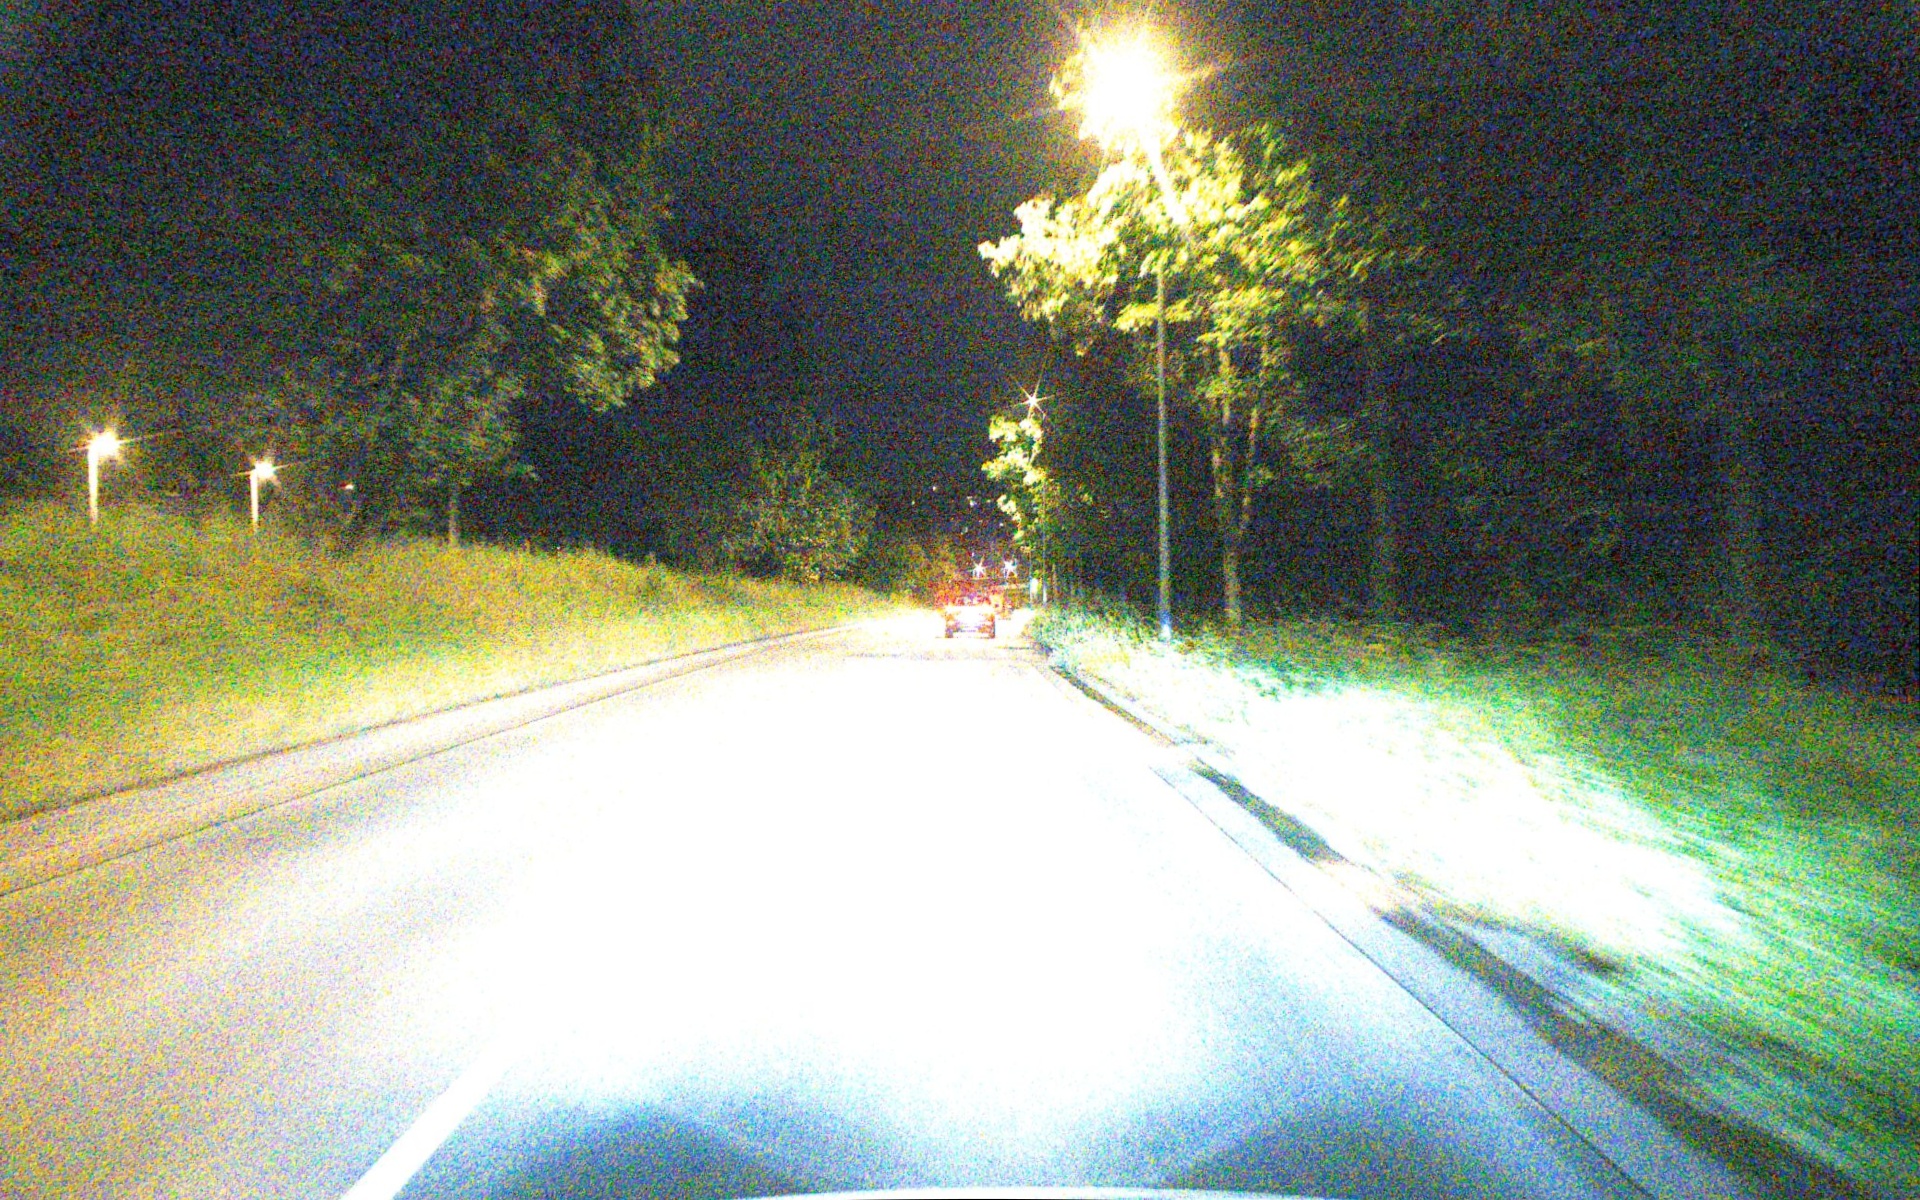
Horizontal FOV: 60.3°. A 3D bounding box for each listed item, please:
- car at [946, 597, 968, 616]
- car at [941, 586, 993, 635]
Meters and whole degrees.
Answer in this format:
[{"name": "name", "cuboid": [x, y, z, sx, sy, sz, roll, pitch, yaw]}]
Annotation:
[{"name": "car", "cuboid": [-0.214, 0.500, 129.693, 1.653, 1.483, 4.000, 1, 0, 0]}, {"name": "car", "cuboid": [0.219, 0.353, 58.578, 1.727, 1.670, 3.721, 1, 0, -2]}]
